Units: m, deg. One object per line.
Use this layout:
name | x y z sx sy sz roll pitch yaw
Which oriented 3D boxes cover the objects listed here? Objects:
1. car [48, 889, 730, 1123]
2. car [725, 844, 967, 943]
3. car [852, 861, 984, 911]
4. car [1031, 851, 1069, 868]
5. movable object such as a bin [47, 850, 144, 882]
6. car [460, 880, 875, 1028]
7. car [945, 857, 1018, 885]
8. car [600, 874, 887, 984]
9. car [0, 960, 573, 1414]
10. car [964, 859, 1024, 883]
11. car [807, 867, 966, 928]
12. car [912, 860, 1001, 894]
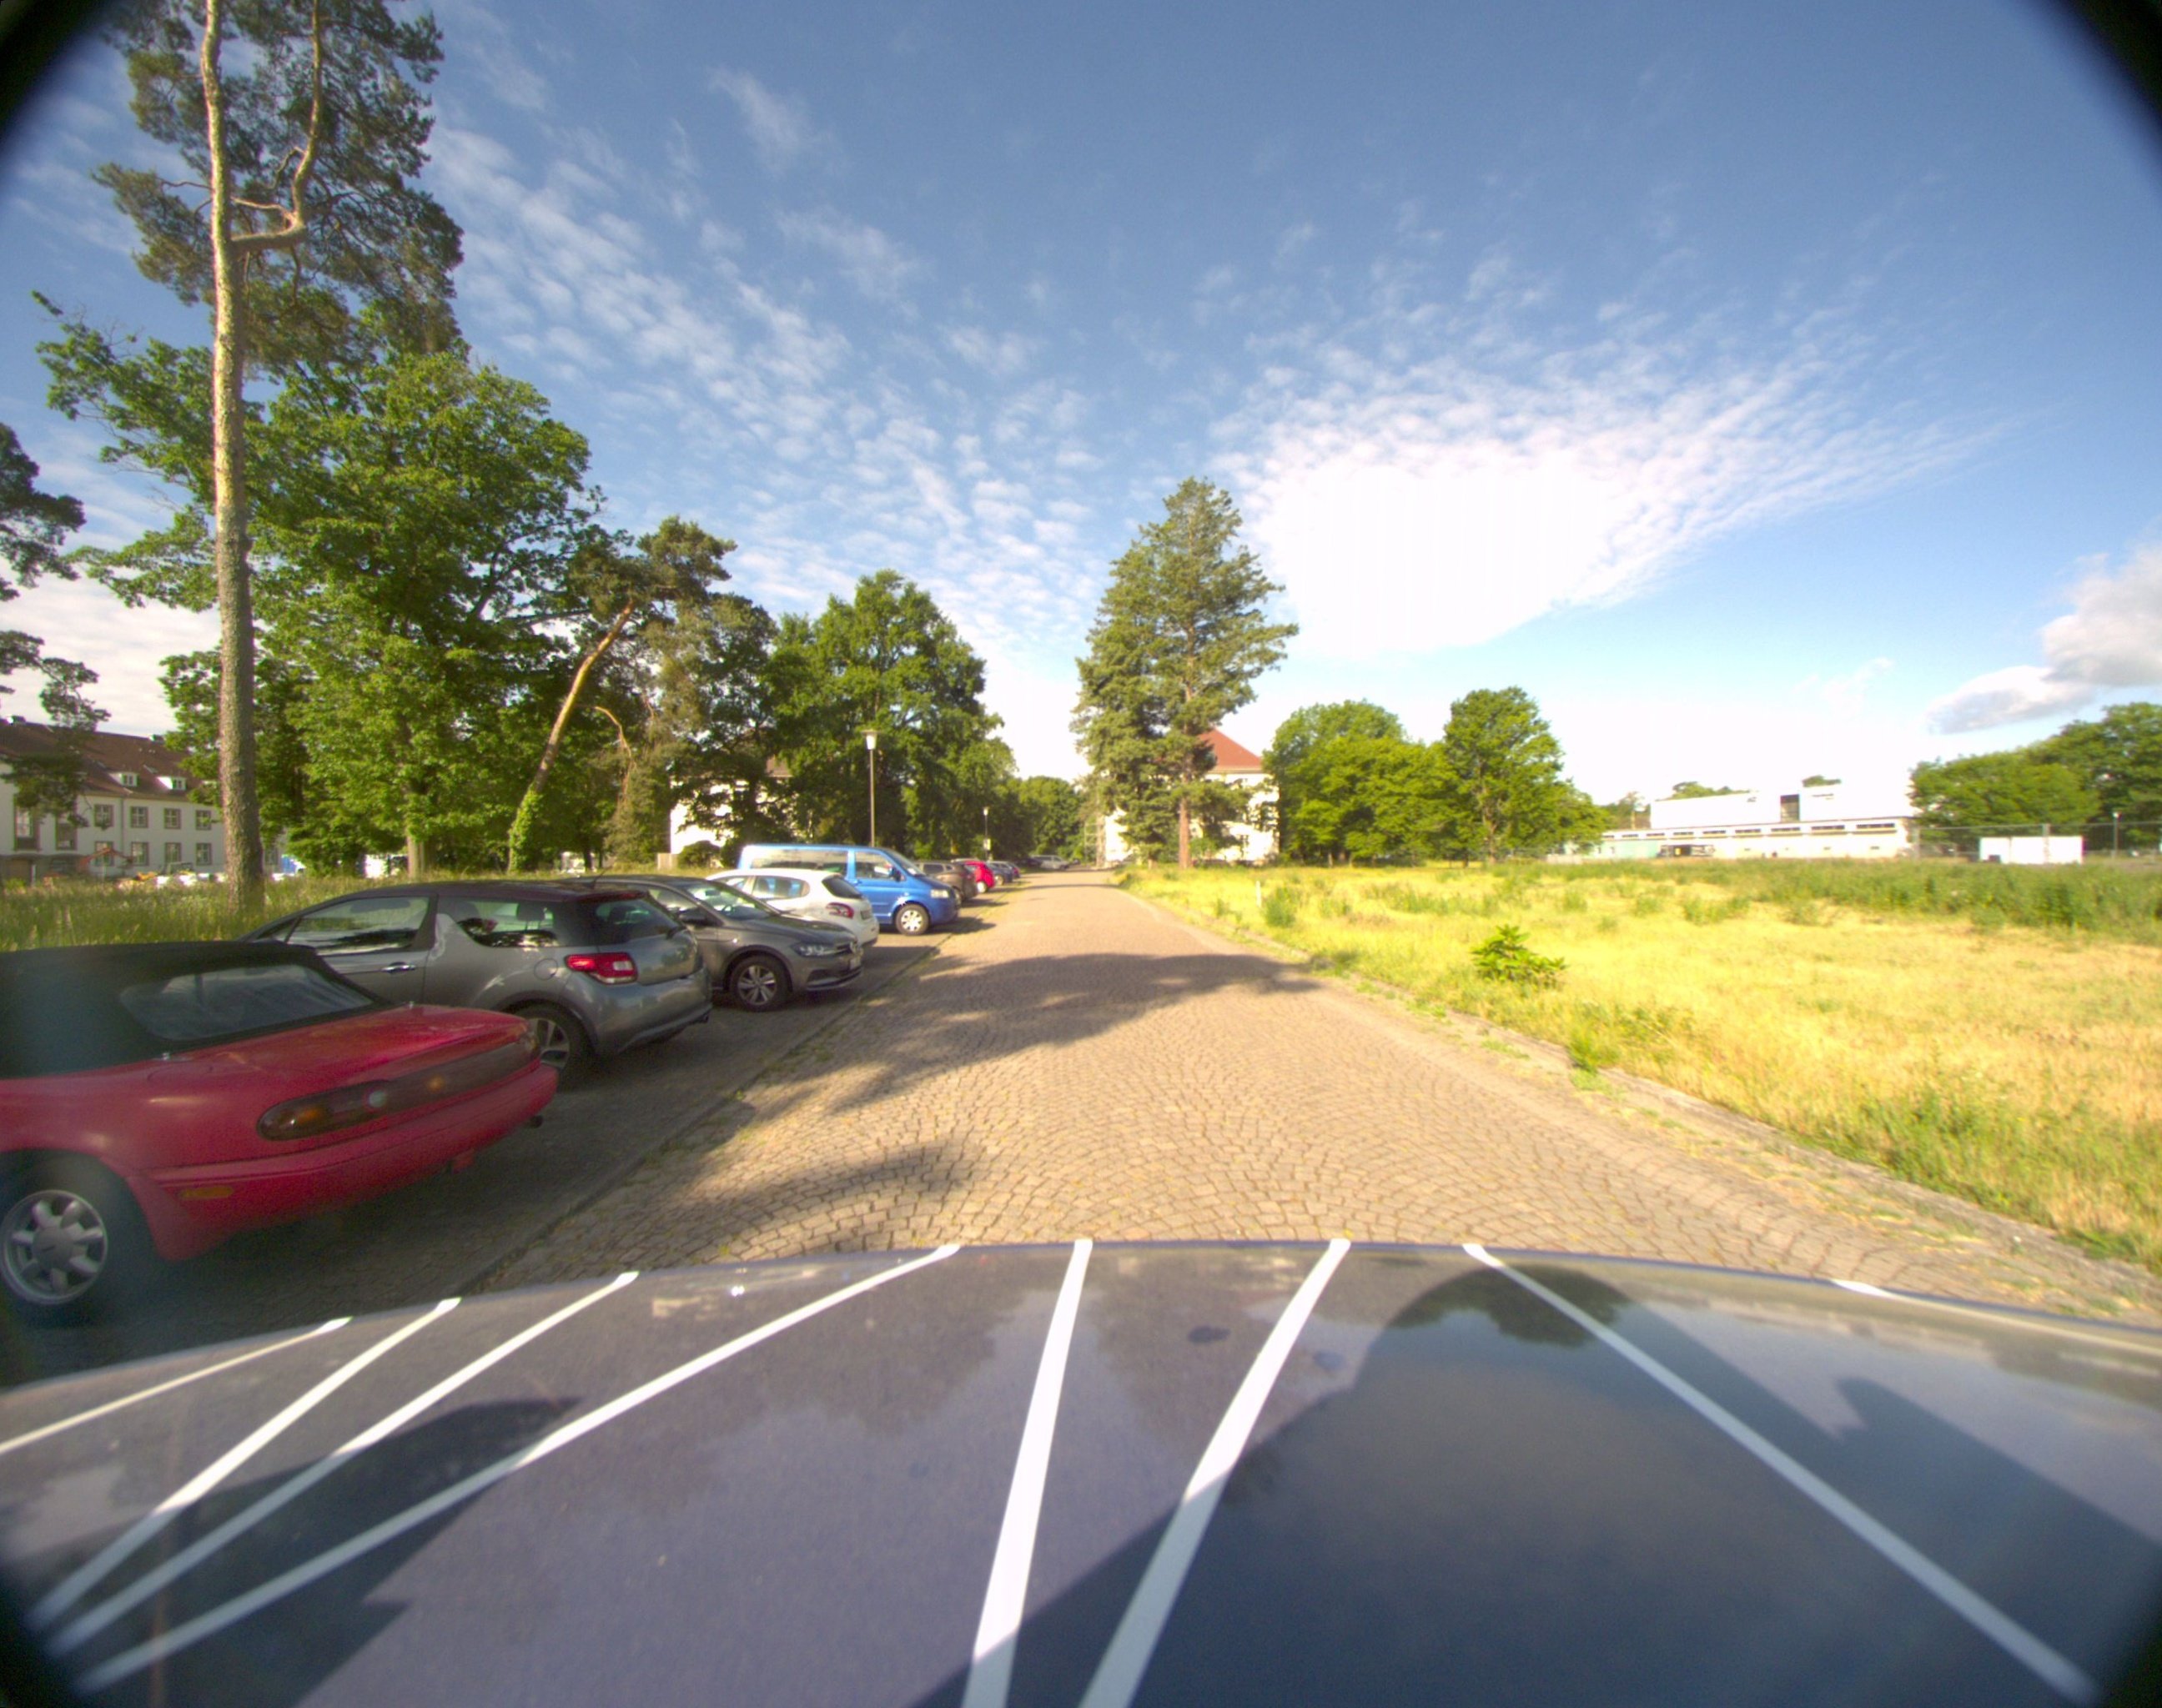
car | -4.944 1.056 5.868 3.673 1.446 1.666 1 0 -2
car | -5.100 0.831 17.006 4.767 2.002 2.000 1 0 -2
car | -5.460 1.060 25.858 4.118 1.601 1.786 0 0 -3
car | -4.126 0.765 100.234 4.995 2.123 2.164 -1 0 -4
movable object such as a bin | -92.079 1.104 71.117 2.178 2.884 5.075 0 0 5
car | -4.510 1.065 8.721 3.790 1.442 1.757 0 0 0
car | -6.039 1.043 46.384 4.274 1.589 1.651 -1 0 -2
car | -5.015 1.089 11.652 3.654 1.483 1.634 -1 0 -1
car | -4.407 1.205 3.189 3.470 1.235 1.536 -1 0 -1
car | -5.809 1.121 51.181 3.810 1.458 1.747 -1 0 -1
car | -4.924 1.095 19.642 3.730 1.458 1.609 1 0 -4
car | -5.870 1.061 36.098 3.998 1.486 1.540 -1 0 -2
